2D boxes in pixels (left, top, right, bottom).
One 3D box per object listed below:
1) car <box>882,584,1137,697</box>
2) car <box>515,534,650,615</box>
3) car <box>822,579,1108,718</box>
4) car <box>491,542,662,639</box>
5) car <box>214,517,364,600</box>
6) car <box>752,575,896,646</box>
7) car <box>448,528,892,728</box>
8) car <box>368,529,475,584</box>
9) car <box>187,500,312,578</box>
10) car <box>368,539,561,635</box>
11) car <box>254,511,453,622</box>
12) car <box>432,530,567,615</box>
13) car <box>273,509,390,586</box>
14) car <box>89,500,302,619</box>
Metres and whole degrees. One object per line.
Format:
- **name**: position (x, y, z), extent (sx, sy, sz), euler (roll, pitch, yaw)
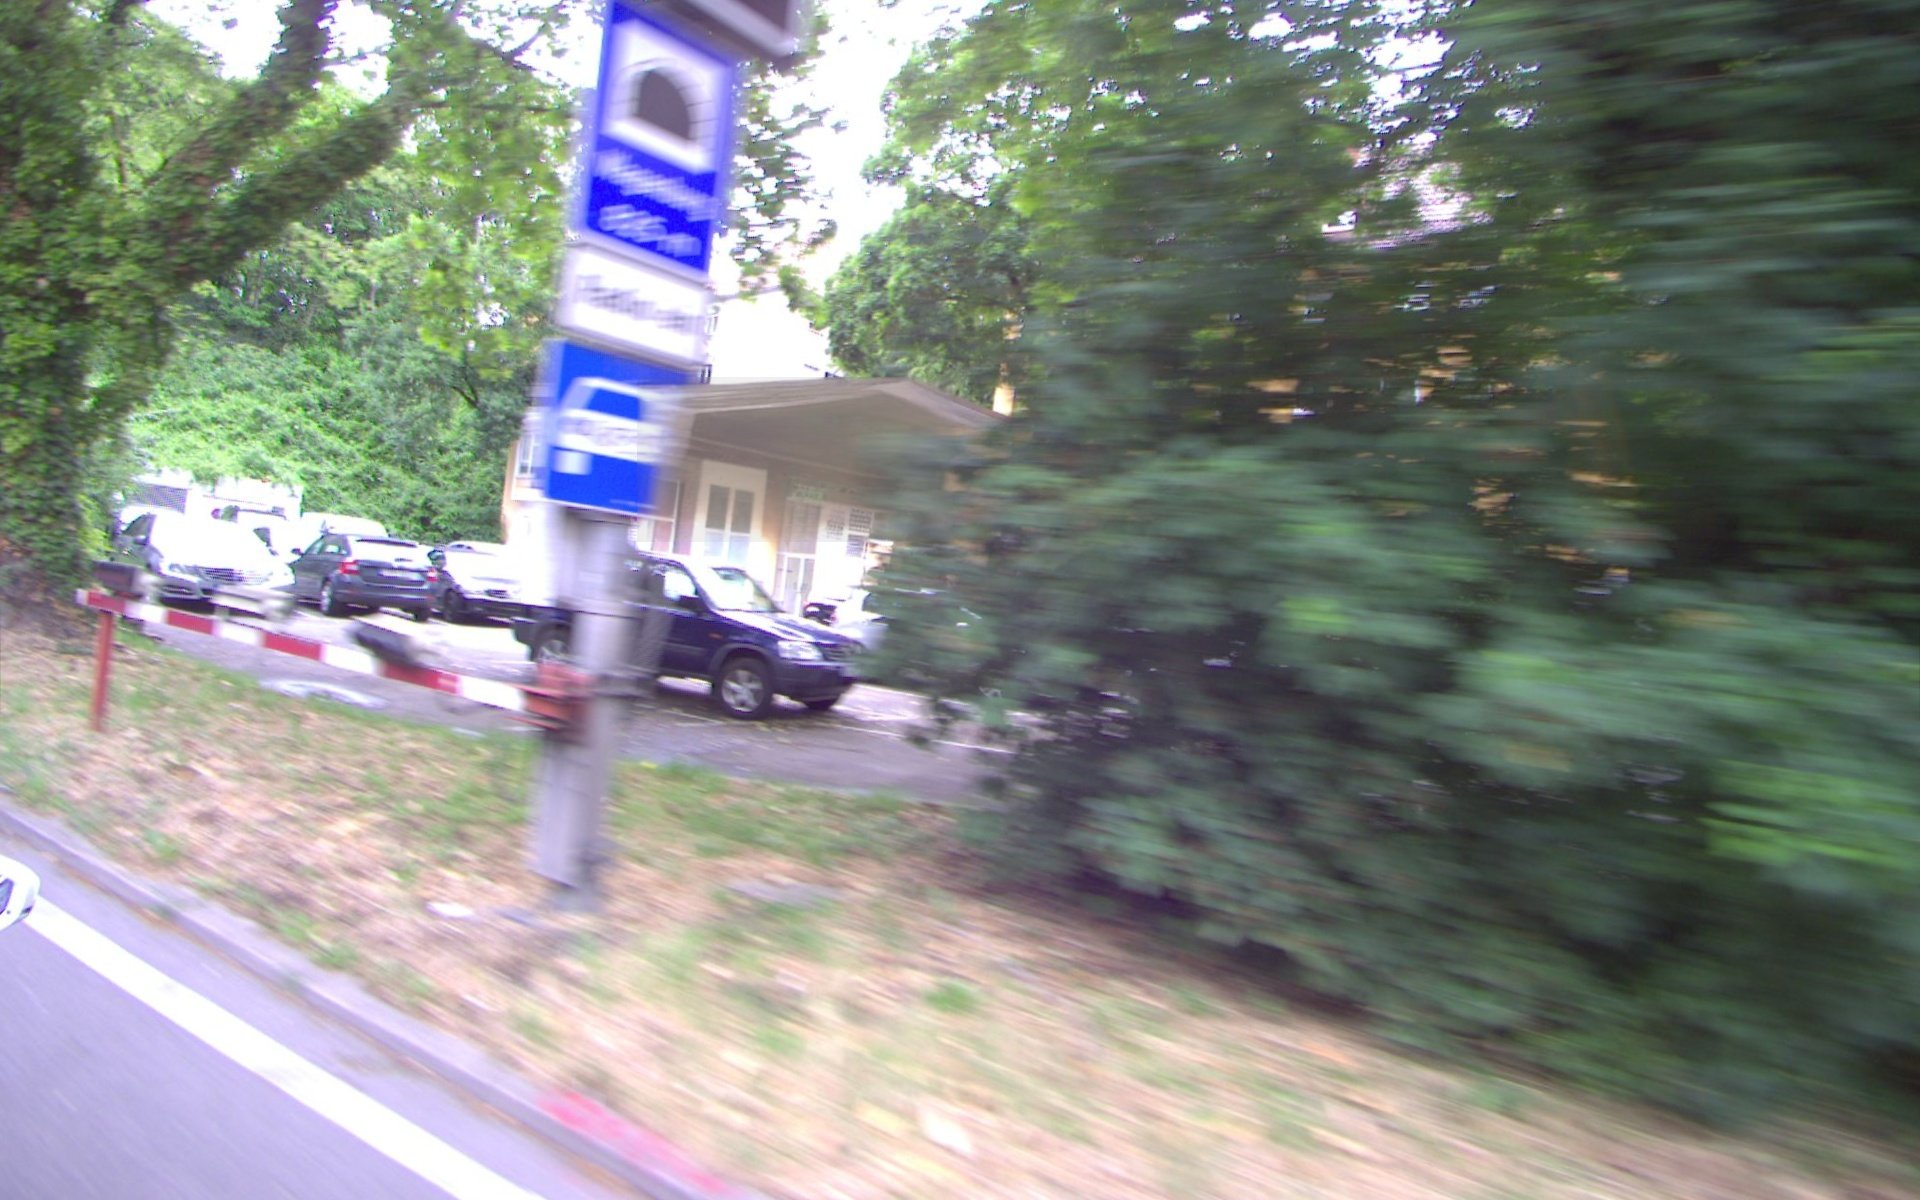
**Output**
- **car**: position (0.864, 0.662, 17.831), extent (4.057, 1.447, 1.734), euler (6, 2, 26)
- **car**: position (-10.131, -0.721, 26.828), extent (1.801, 1.461, 4.189), euler (7, 4, -43)
- **car**: position (0.040, 0.687, 15.815), extent (4.060, 1.590, 1.733), euler (7, 2, 29)
- **car**: position (-8.522, -0.256, 22.162), extent (4.347, 1.614, 1.780), euler (7, 1, 45)
- **car**: position (-14.997, -0.951, 22.413), extent (3.843, 1.460, 1.741), euler (6, 0, 41)
- **car**: position (-3.835, 0.295, 28.281), extent (3.605, 1.524, 1.653), euler (7, 1, 29)
- **car**: position (-3.411, 0.243, 11.792), extent (4.795, 1.687, 1.813), euler (6, 1, 21)
- **car**: position (-18.465, -1.493, 34.414), extent (4.266, 1.443, 1.793), euler (6, -1, 42)
- **car**: position (-21.569, -1.872, 30.462), extent (4.815, 1.901, 1.854), euler (6, -1, 41)
- **car**: position (-10.065, -0.309, 20.292), extent (4.528, 1.396, 1.782), euler (7, 1, 41)
- **car**: position (-11.453, -0.669, 18.873), extent (4.528, 1.578, 1.782), euler (7, 1, 41)
- **car**: position (-11.642, -0.721, 25.312), extent (1.801, 1.461, 3.954), euler (7, 4, -43)
- **car**: position (-20.227, -1.705, 32.284), extent (4.499, 2.039, 1.854), euler (6, -1, 42)
- **car**: position (-12.909, -0.728, 16.851), extent (4.990, 1.460, 1.782), euler (7, 1, 41)
